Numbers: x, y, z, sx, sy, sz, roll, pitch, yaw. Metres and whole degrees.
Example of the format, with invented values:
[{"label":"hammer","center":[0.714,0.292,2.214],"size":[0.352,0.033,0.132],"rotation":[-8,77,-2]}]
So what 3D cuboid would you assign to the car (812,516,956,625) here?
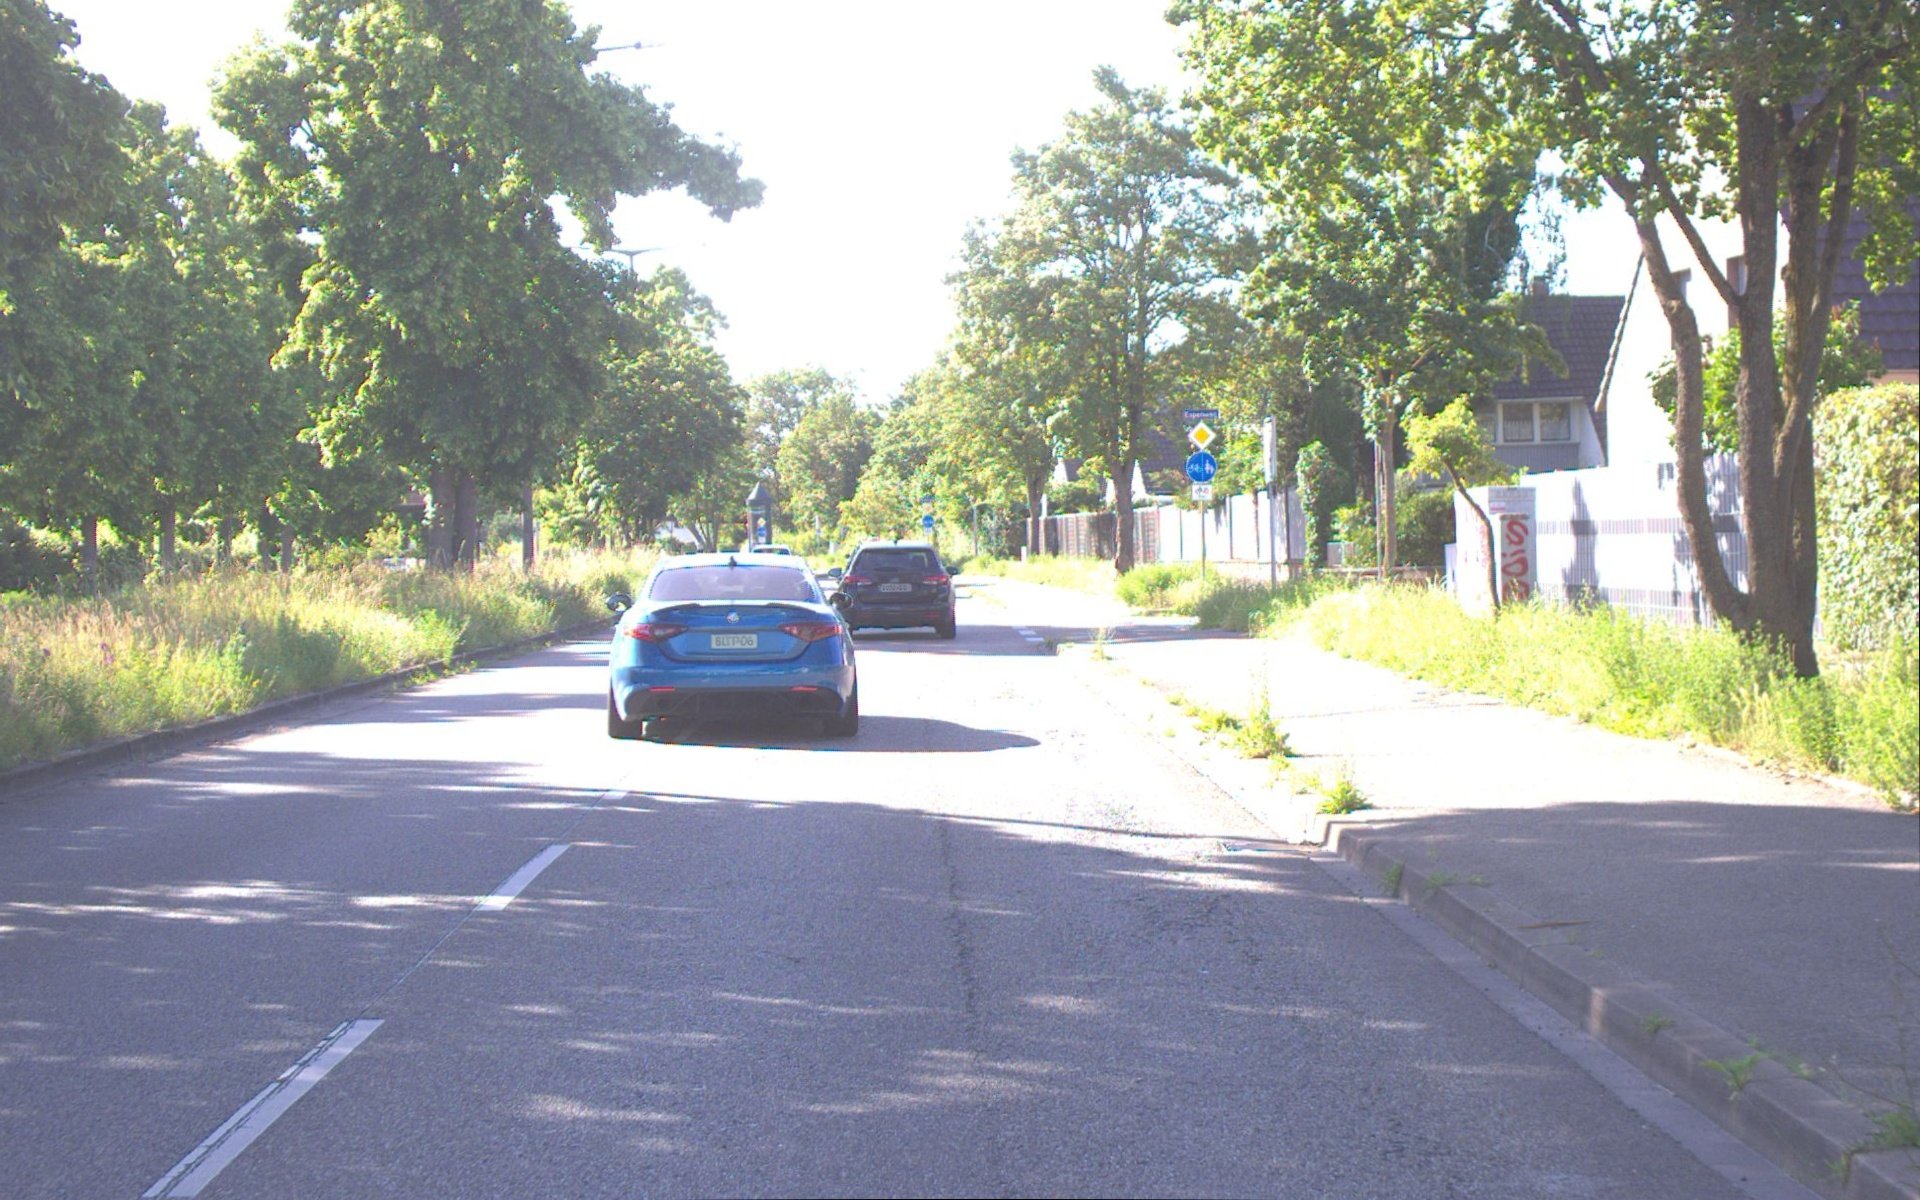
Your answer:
[{"label":"car","center":[-1.199,-0.481,52.573],"size":[1.915,1.574,4.183],"rotation":[-1,1,-5]}]

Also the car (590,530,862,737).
[{"label":"car","center":[-1.774,0.245,27.311],"size":[1.838,1.469,4.184],"rotation":[-2,0,0]}]

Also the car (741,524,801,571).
[{"label":"car","center":[-6.252,-1.751,113.876],"size":[1.915,1.507,4.068],"rotation":[-1,1,-3]}]
